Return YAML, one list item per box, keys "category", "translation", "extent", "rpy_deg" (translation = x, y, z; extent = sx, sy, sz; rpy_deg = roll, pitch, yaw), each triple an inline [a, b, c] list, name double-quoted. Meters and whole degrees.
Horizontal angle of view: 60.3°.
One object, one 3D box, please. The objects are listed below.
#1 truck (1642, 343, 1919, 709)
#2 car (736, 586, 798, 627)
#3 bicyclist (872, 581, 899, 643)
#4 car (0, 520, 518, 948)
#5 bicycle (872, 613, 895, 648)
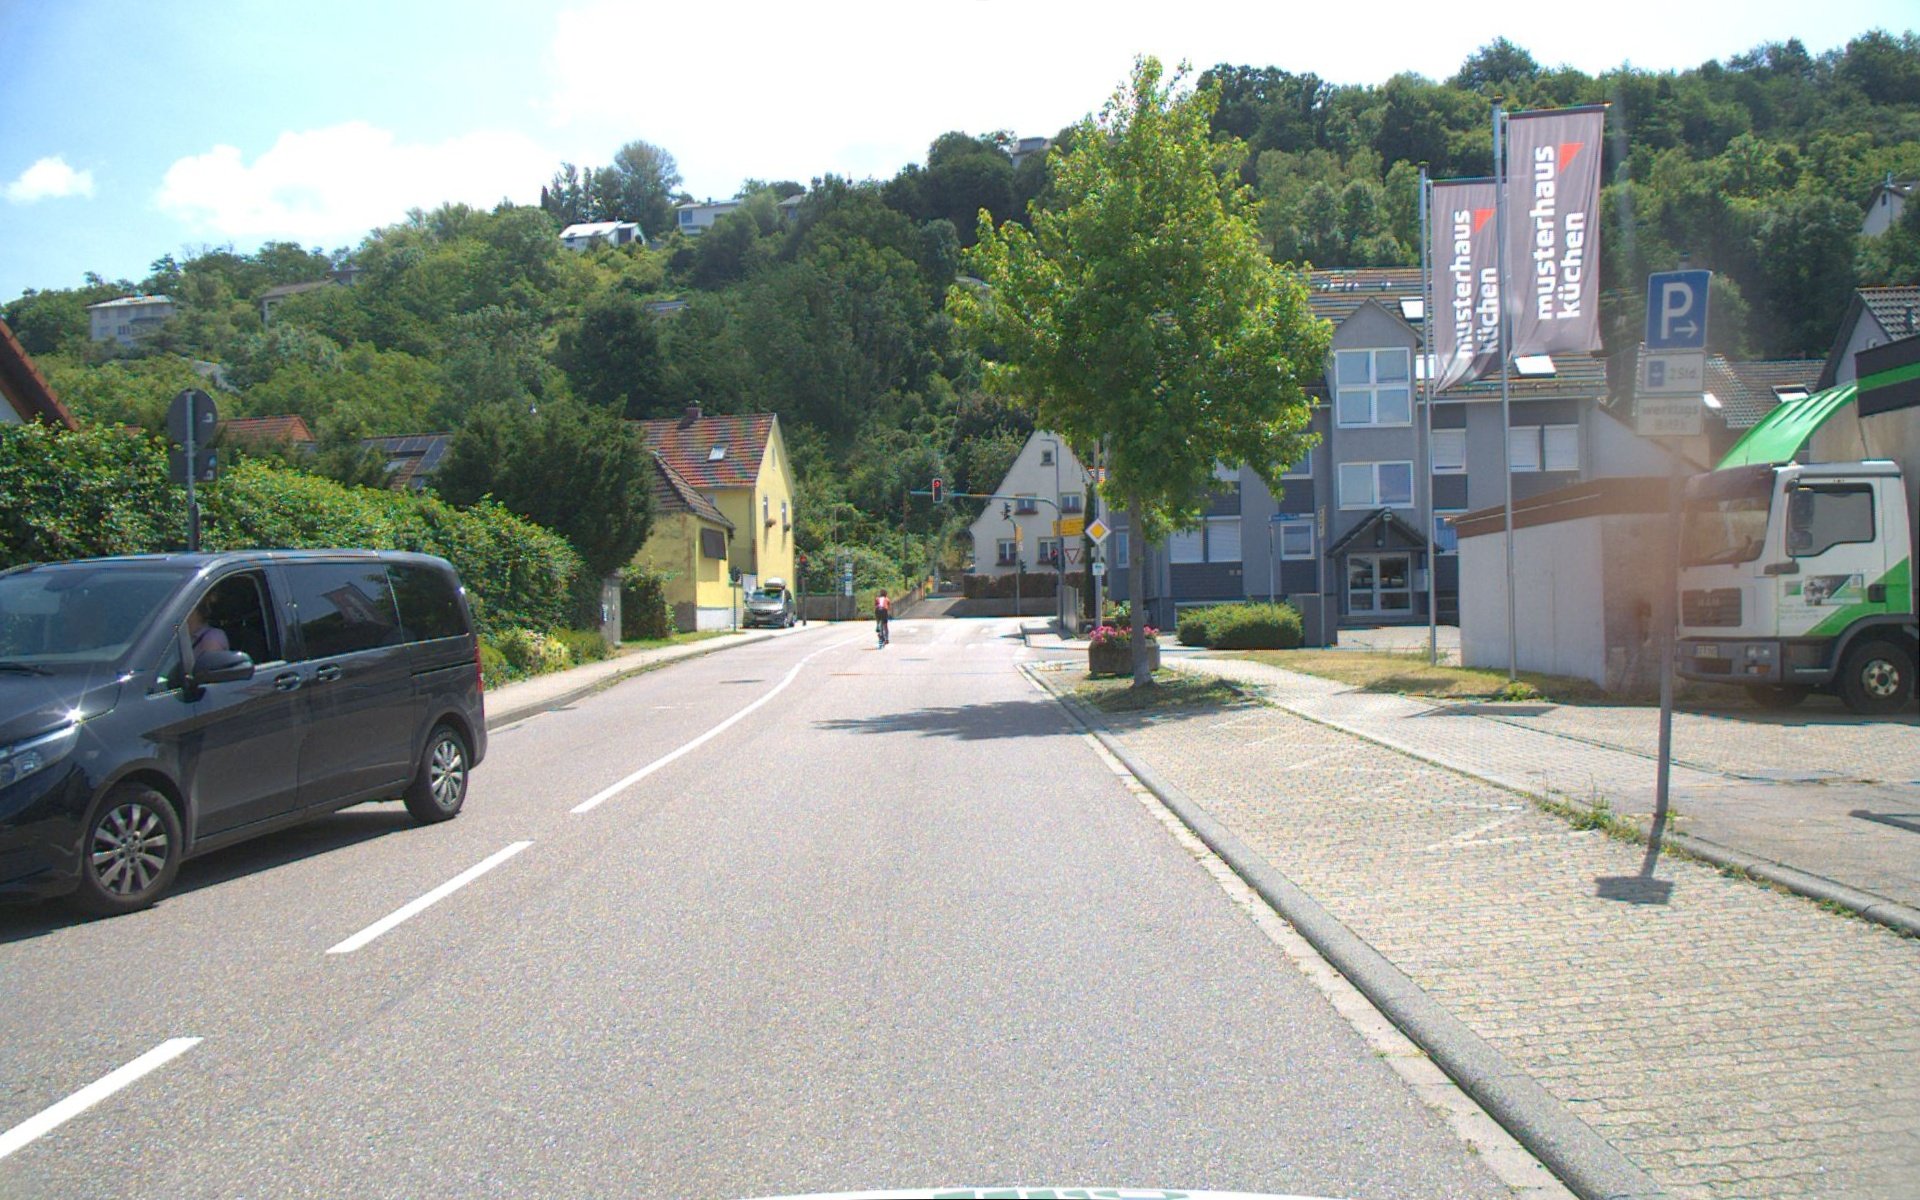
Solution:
- category: "truck"
  translation: [11.952, -0.764, 17.916]
  extent: [8.004, 3.635, 2.677]
  rpy_deg: [-1, -1, -1]
- category: "car"
  translation: [-8.155, 0.244, 70.279]
  extent: [1.952, 1.664, 4.631]
  rpy_deg: [0, 0, 1]
- category: "bicyclist"
  translation: [-2.041, 0.325, 45.394]
  extent: [0.745, 1.693, 0.868]
  rpy_deg: [0, 0, -3]
- category: "car"
  translation: [-4.712, 0.612, 9.954]
  extent: [1.951, 1.884, 5.074]
  rpy_deg: [-3, 0, 10]
- category: "bicycle"
  translation: [-2.089, 0.820, 45.500]
  extent: [0.617, 0.920, 1.656]
  rpy_deg: [0, 0, -2]
